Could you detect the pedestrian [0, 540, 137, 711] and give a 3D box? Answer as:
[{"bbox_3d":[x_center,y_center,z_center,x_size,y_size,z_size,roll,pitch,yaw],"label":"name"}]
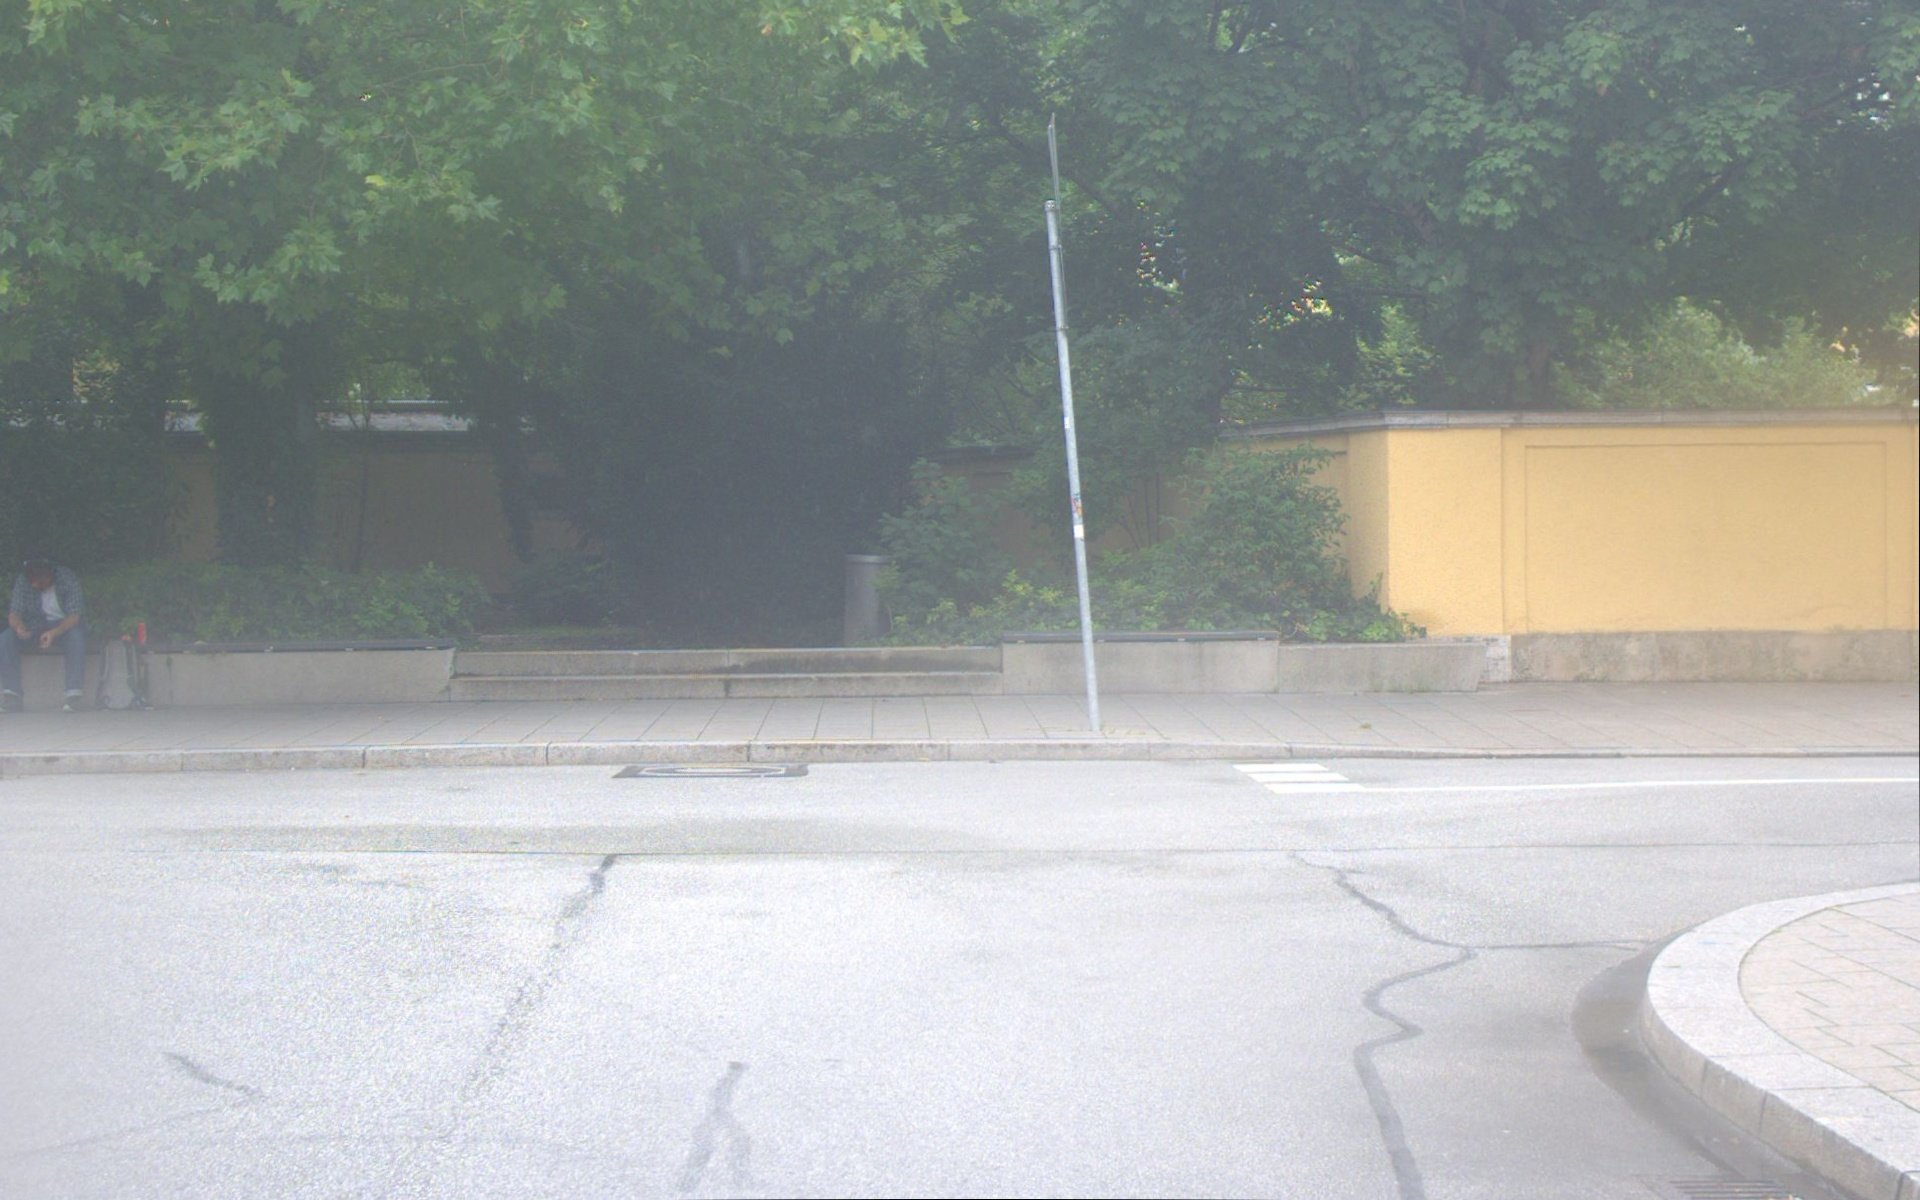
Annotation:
[{"bbox_3d":[-6.428,0.172,24.576,0.812,1.185,0.919,-1,1,3],"label":"pedestrian"}]
